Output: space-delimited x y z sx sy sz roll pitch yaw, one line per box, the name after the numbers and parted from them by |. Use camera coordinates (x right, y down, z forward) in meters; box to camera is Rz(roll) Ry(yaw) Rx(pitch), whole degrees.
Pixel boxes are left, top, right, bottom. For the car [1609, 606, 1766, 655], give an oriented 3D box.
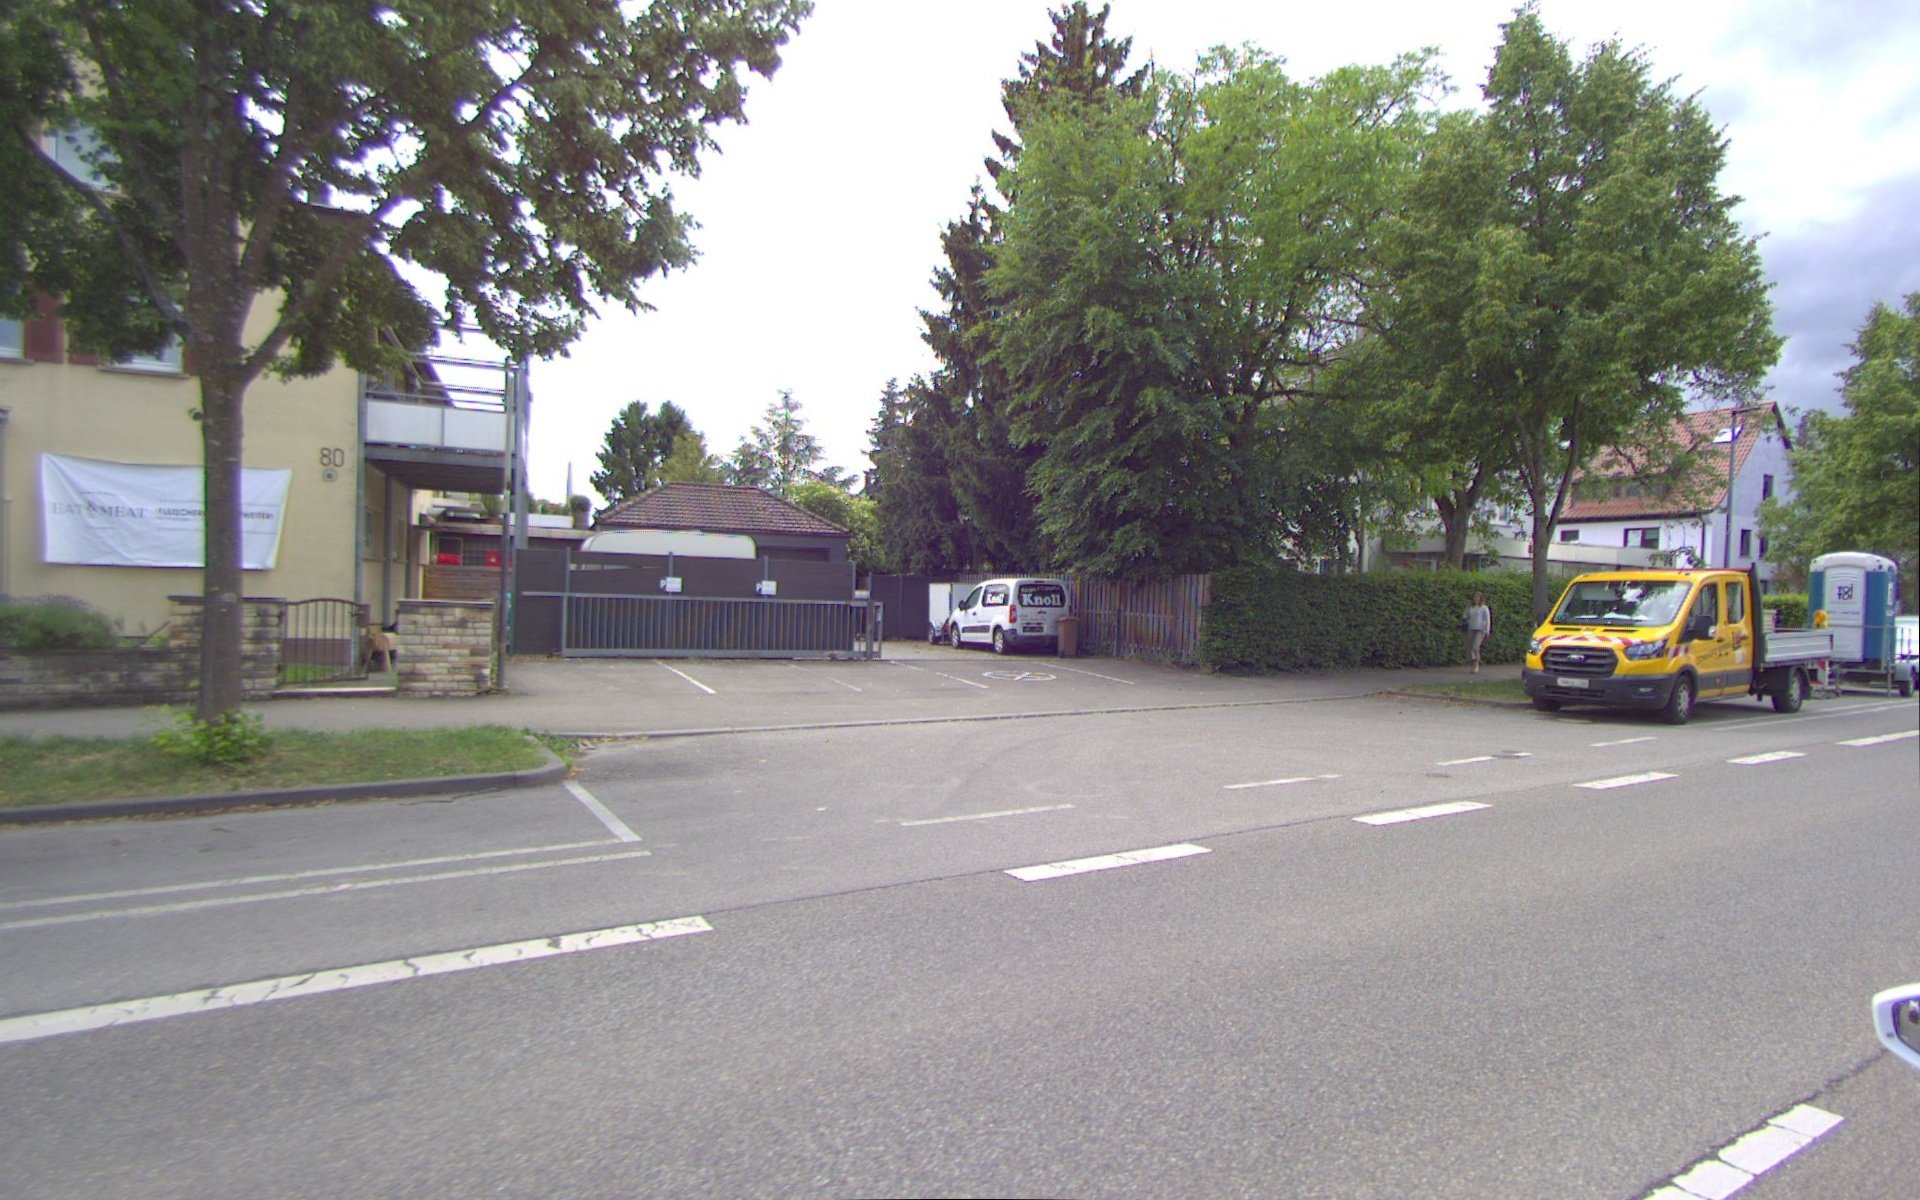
25.267 1.025 35.041 1.777 1.452 4.065 1 2 -26 | car

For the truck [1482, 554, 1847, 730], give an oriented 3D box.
11.233 0.596 15.850 6.387 2.317 2.284 1 0 -30 | truck

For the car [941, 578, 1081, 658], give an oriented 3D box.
1.162 0.416 24.951 1.894 1.818 3.977 1 0 -23 | car

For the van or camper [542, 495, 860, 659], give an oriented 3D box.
-5.207 -0.365 20.229 5.852 2.922 2.590 1 0 -23 | van or camper

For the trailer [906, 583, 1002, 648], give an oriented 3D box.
-0.234 0.418 28.672 1.640 1.743 3.138 1 0 -23 | trailer

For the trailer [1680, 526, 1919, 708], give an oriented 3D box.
16.911 0.328 19.318 6.928 3.002 2.361 1 0 -30 | trailer

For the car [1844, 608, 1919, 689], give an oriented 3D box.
22.001 1.093 22.970 4.182 1.706 1.678 2 0 -34 | car

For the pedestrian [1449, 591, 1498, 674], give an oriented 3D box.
11.152 0.692 21.837 0.713 1.765 0.638 1 1 -30 | pedestrian
